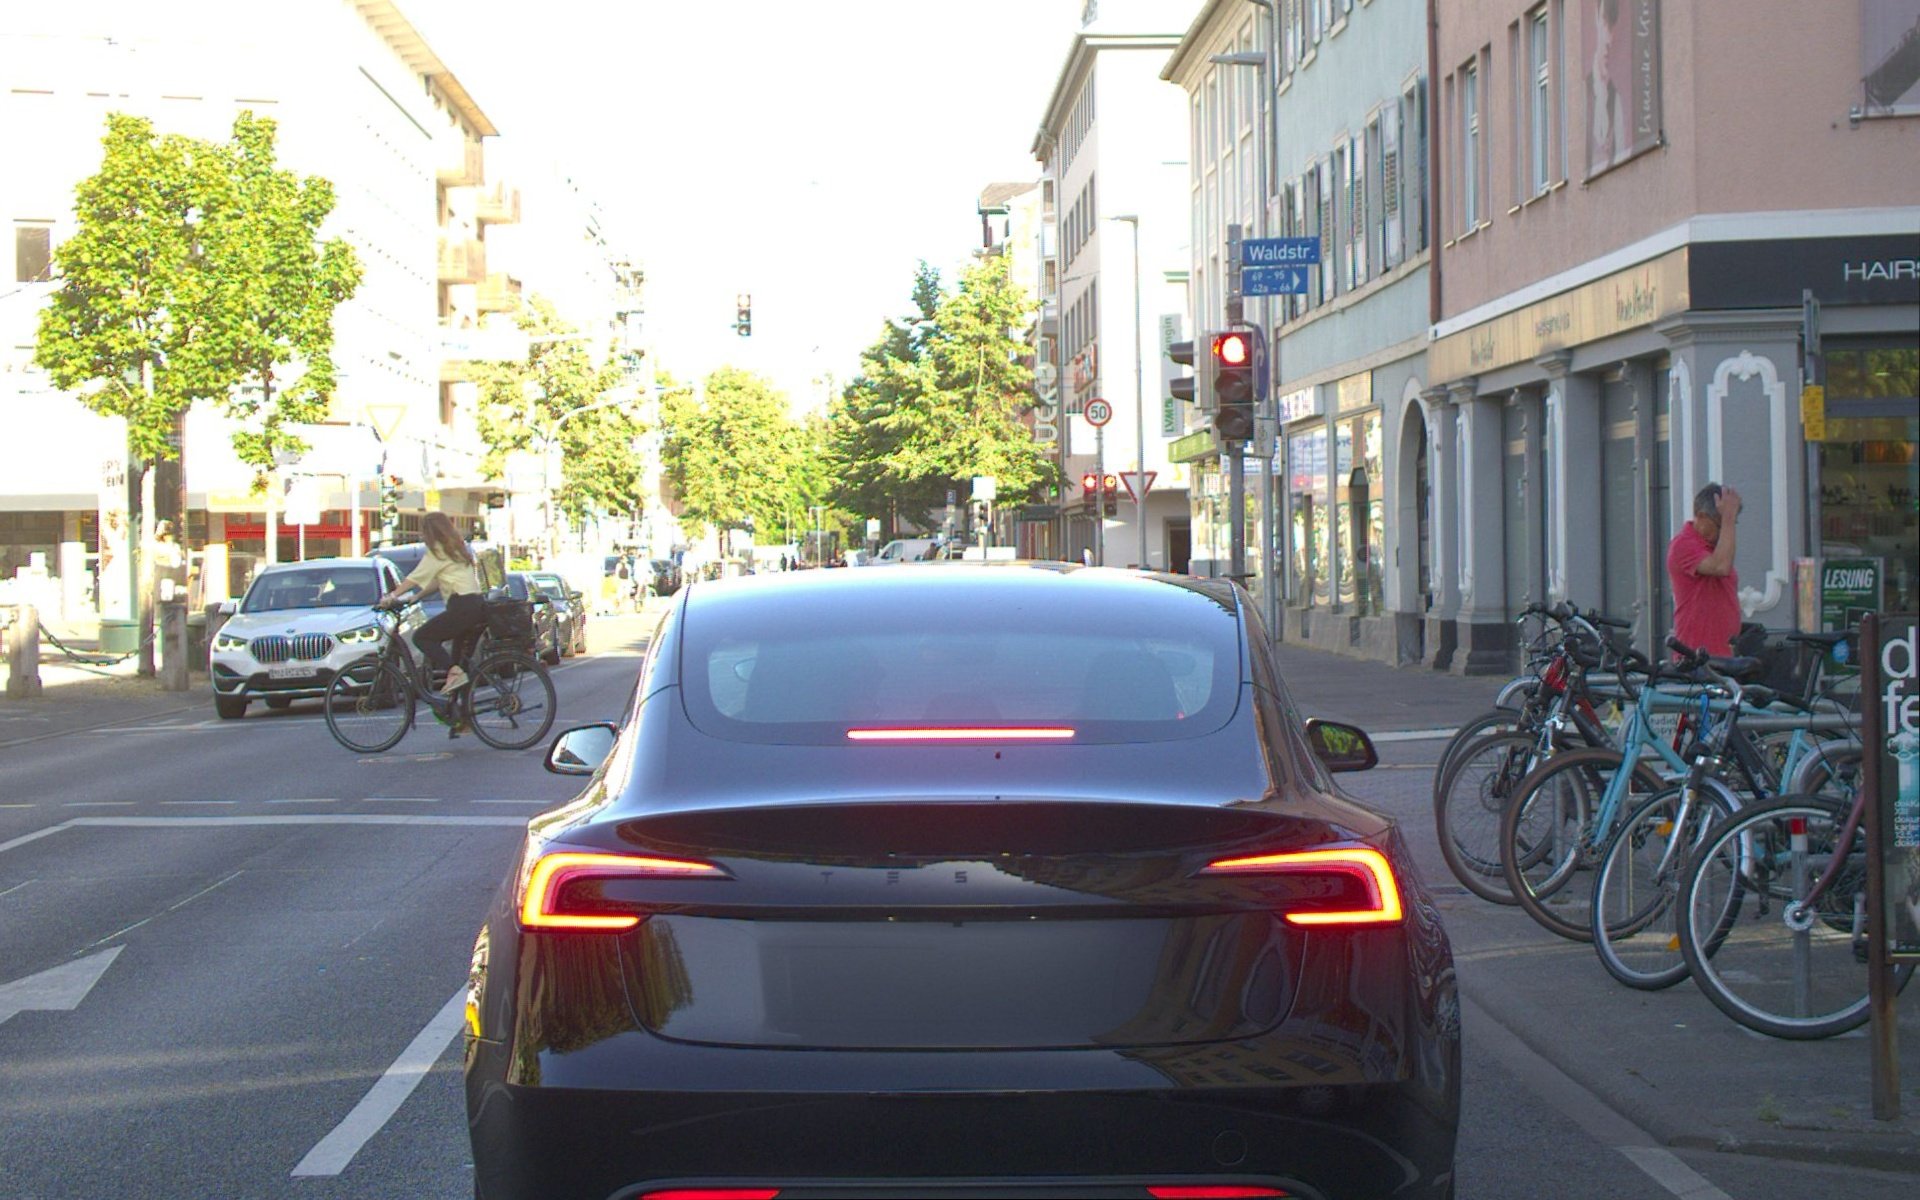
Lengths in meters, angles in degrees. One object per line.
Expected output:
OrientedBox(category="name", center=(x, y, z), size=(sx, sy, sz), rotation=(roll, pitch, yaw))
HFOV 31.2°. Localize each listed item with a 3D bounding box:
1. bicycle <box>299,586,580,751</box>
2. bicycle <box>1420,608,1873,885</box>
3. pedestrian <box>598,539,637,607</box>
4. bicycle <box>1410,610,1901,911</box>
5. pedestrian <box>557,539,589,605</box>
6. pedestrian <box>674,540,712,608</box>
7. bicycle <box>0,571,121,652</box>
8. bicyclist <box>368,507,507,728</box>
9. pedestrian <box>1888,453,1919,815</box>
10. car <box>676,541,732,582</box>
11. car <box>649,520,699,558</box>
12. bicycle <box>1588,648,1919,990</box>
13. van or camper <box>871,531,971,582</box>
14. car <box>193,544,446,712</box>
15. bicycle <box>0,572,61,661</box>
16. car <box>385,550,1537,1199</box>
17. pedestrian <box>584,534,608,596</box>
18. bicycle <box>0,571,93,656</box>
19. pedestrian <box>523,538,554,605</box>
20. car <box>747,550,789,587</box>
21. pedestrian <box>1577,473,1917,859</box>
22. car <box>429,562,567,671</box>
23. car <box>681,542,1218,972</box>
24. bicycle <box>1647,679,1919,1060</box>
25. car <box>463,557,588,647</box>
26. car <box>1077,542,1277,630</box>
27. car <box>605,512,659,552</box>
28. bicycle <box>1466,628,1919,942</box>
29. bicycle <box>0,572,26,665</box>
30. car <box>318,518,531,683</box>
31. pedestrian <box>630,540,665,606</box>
OrientedBox(category="bicycle", center=(-3.888, 0.513, 25.727), size=(1.954, 1.154, 0.575), rotation=(-2, 0, 10))
OrientedBox(category="bicycle", center=(2.921, 0.614, 14.748), size=(1.813, 1.148, 0.653), rotation=(0, 1, 1))
OrientedBox(category="pedestrian", center=(-9.424, -0.748, 94.493), size=(0.734, 1.861, 0.789), rotation=(1, 0, 28))
OrientedBox(category="bicycle", center=(2.729, 0.622, 13.614), size=(1.813, 1.148, 0.653), rotation=(0, 1, 1))
OrientedBox(category="pedestrian", center=(-10.936, -0.795, 97.091), size=(0.732, 1.861, 0.791), rotation=(1, 0, -17))
OrientedBox(category="pedestrian", center=(-7.434, -0.731, 95.615), size=(0.774, 1.861, 1.009), rotation=(1, 0, -21))
OrientedBox(category="bicycle", center=(-14.697, 0.167, 54.576), size=(2.542, 1.247, 0.943), rotation=(1, 0, -3))
OrientedBox(category="bicyclist", center=(-3.902, 0.124, 25.713), size=(0.826, 1.609, 0.579), rotation=(-2, 1, 9))
OrientedBox(category="pedestrian", center=(5.200, 0.162, 17.371), size=(0.681, 1.843, 0.893), rotation=(-4, 0, 1))
OrientedBox(category="car", center=(-12.397, -1.863, 166.463), size=(2.414, 1.963, 4.678), rotation=(0, 1, -1))
OrientedBox(category="car", center=(-15.651, -3.349, 188.293), size=(2.275, 2.007, 4.717), rotation=(1, 1, 1))
OrientedBox(category="bicycle", center=(2.998, 0.694, 11.133), size=(1.813, 1.056, 0.653), rotation=(0, 1, 1))
OrientedBox(category="van or camper", center=(-1.903, -2.127, 167.560), size=(4.850, 2.430, 1.851), rotation=(0, 1, -1))
OrientedBox(category="car", center=(-6.689, 0.258, 36.352), size=(1.825, 1.559, 4.301), rotation=(-4, 1, -1))
OrientedBox(category="bicycle", center=(-14.490, 0.221, 49.877), size=(2.662, 1.255, 0.943), rotation=(1, 0, -3))
OrientedBox(category="car", center=(-0.026, 0.630, 7.785), size=(1.850, 1.442, 4.452), rotation=(1, 1, -1))
OrientedBox(category="pedestrian", center=(-10.998, -1.069, 103.890), size=(0.695, 1.861, 0.659), rotation=(1, 0, -5))
OrientedBox(category="bicycle", center=(-14.536, 0.193, 52.152), size=(2.542, 1.247, 0.943), rotation=(1, 0, -3))
OrientedBox(category="pedestrian", center=(-11.898, -0.808, 97.004), size=(0.732, 1.861, 0.791), rotation=(1, 0, -17))
OrientedBox(category="car", center=(-10.444, -1.734, 187.146), size=(2.132, 1.963, 4.134), rotation=(0, 1, -1))
OrientedBox(category="pedestrian", center=(3.667, 0.288, 16.032), size=(1.058, 1.714, 1.113), rotation=(0, 1, -41))
OrientedBox(category="car", center=(-6.656, 0.209, 49.808), size=(1.461, 1.425, 3.606), rotation=(-4, 1, -1))
OrientedBox(category="car", center=(-0.062, 0.526, 14.210), size=(1.850, 1.476, 4.452), rotation=(1, 1, -1))
OrientedBox(category="bicycle", center=(3.024, 0.761, 10.062), size=(1.882, 1.040, 0.653), rotation=(-1, 1, 1))
OrientedBox(category="car", center=(-7.132, 0.025, 56.758), size=(1.693, 1.385, 3.916), rotation=(-2, 0, -2))
OrientedBox(category="car", center=(4.707, -0.319, 74.687), size=(3.992, 1.861, 1.698), rotation=(0, 1, -21))
OrientedBox(category="car", center=(-17.127, -3.529, 179.653), size=(2.275, 2.007, 4.717), rotation=(1, 1, 1))
OrientedBox(category="bicycle", center=(2.798, 0.658, 12.540), size=(1.813, 1.098, 0.653), rotation=(0, 1, 1))
OrientedBox(category="bicycle", center=(-14.489, 0.239, 47.558), size=(2.875, 1.266, 0.943), rotation=(1, 0, -3))
OrientedBox(category="car", center=(-6.575, -0.032, 42.675), size=(1.945, 1.940, 4.820), rotation=(0, 1, -1))
OrientedBox(category="pedestrian", center=(-8.833, -0.765, 97.055), size=(0.695, 1.861, 0.910), rotation=(1, 0, -25))
